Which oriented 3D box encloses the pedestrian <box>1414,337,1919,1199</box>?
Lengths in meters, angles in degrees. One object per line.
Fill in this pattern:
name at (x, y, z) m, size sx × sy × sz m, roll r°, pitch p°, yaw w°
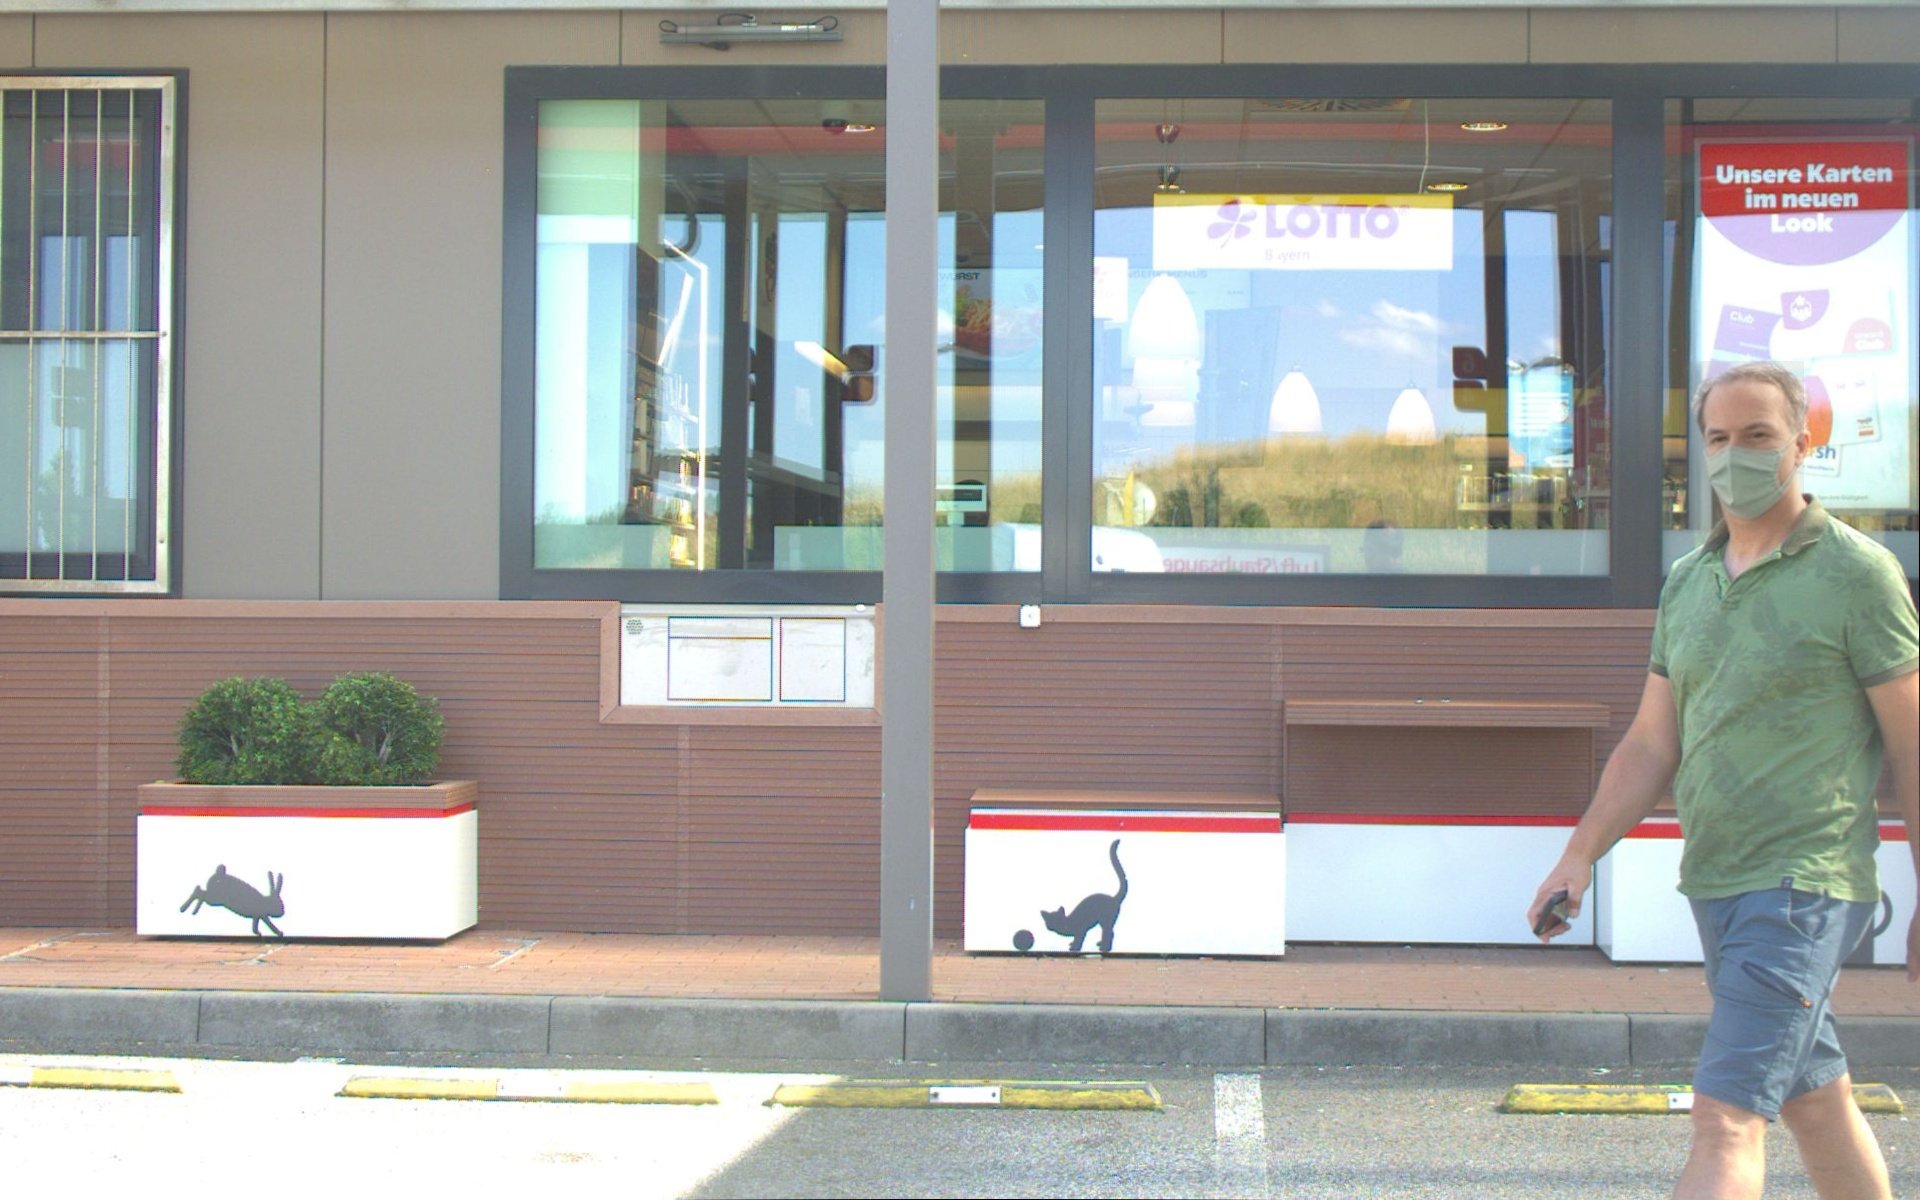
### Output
pedestrian at (1.278, 0.500, 5.647) m, size 0.703 × 1.791 × 0.860 m, roll 1°, pitch 1°, yaw 40°
